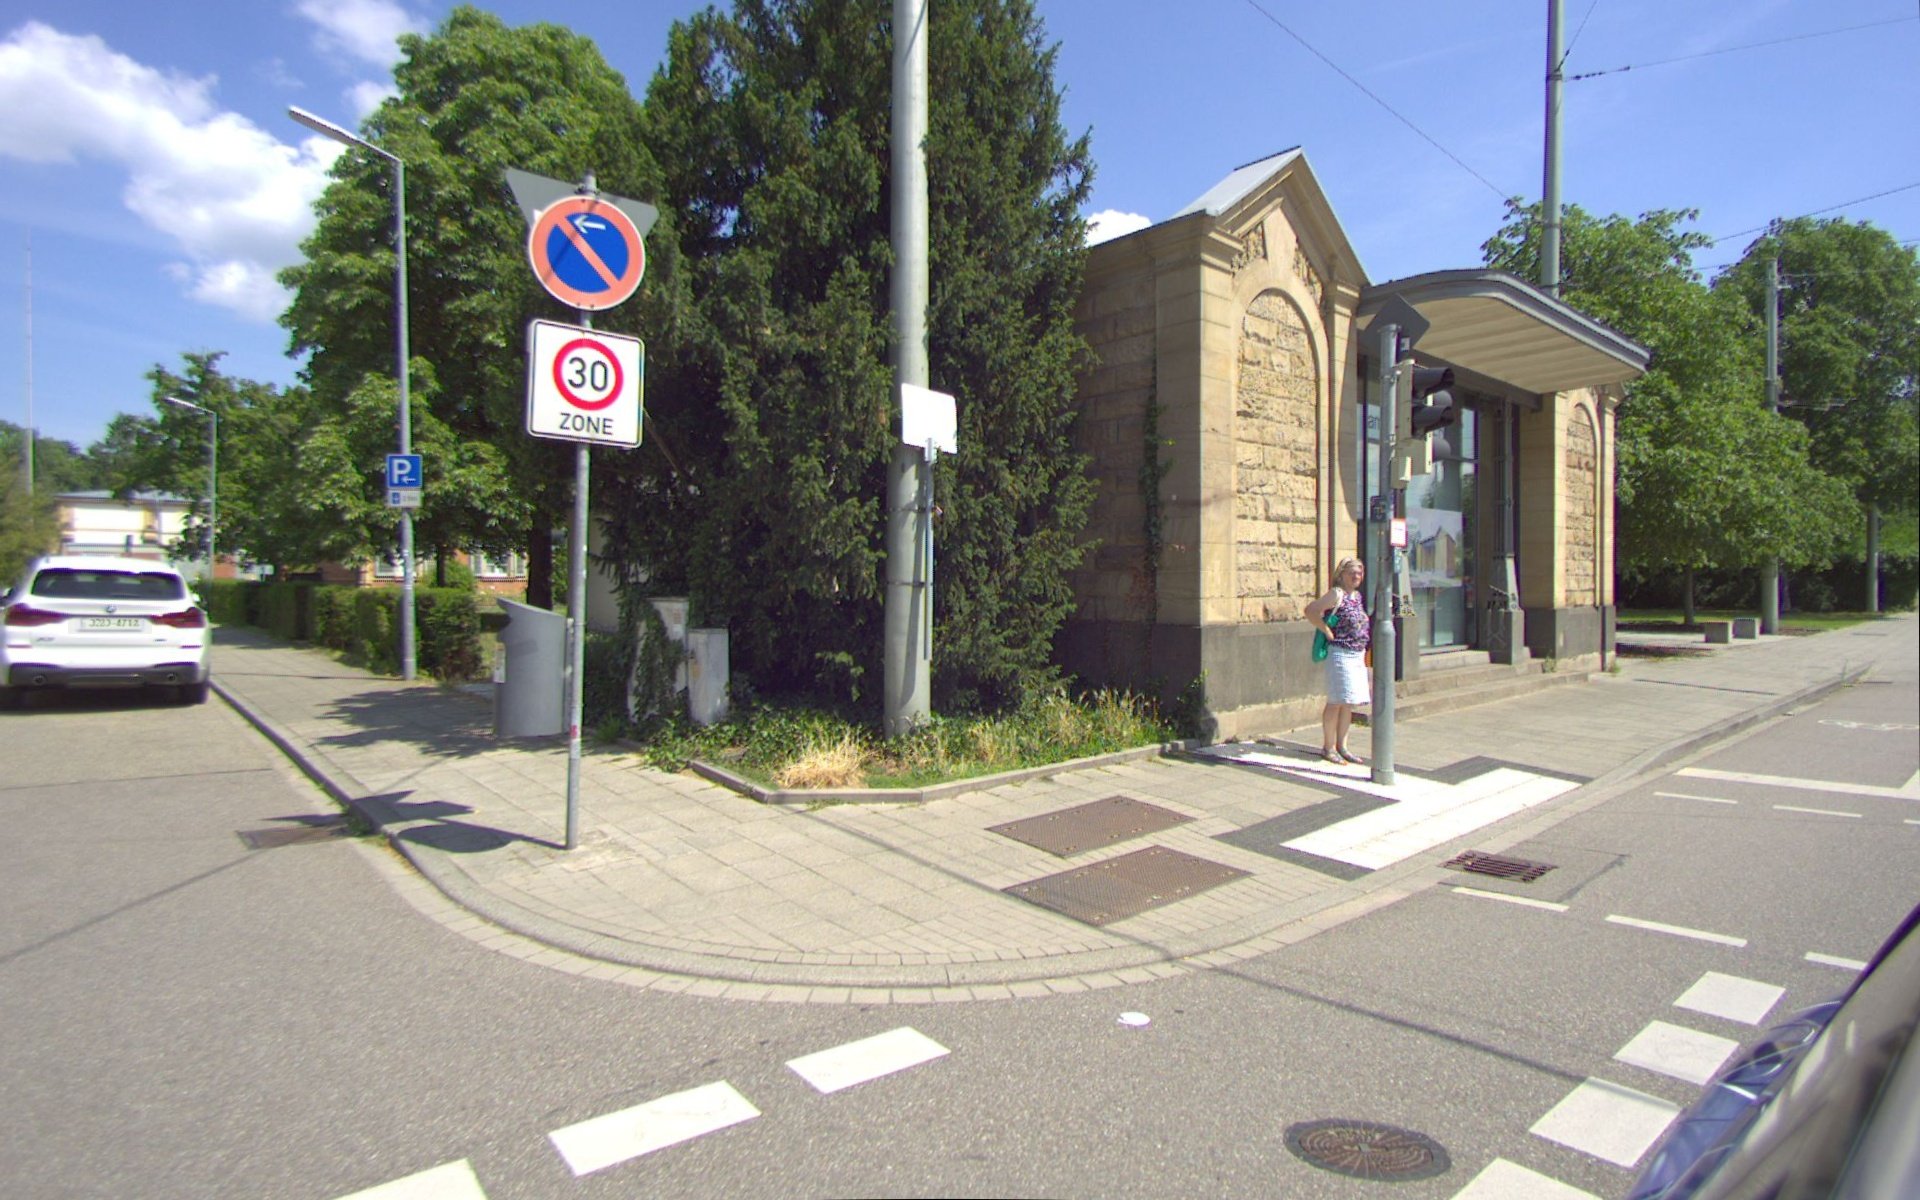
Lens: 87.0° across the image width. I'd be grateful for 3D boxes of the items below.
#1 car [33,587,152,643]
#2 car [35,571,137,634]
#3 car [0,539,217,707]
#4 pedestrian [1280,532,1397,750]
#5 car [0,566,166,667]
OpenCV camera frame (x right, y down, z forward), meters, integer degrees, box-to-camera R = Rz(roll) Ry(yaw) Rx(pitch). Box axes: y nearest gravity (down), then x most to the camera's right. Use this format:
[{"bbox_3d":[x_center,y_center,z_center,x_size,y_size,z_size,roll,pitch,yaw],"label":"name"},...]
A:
[{"bbox_3d":[-18.925,0.293,22.115,1.832,1.056,3.684,1,1,-41],"label":"car"},{"bbox_3d":[-22.311,0.025,25.884,1.832,1.490,3.684,1,1,-41],"label":"car"},{"bbox_3d":[-10.431,0.192,12.308,1.910,1.677,4.410,1,1,-41],"label":"car"},{"bbox_3d":[3.055,0.303,8.192,0.667,1.686,0.566,0,1,-19],"label":"pedestrian"},{"bbox_3d":[-14.756,0.200,17.100,1.910,1.468,4.410,1,1,-41],"label":"car"}]
